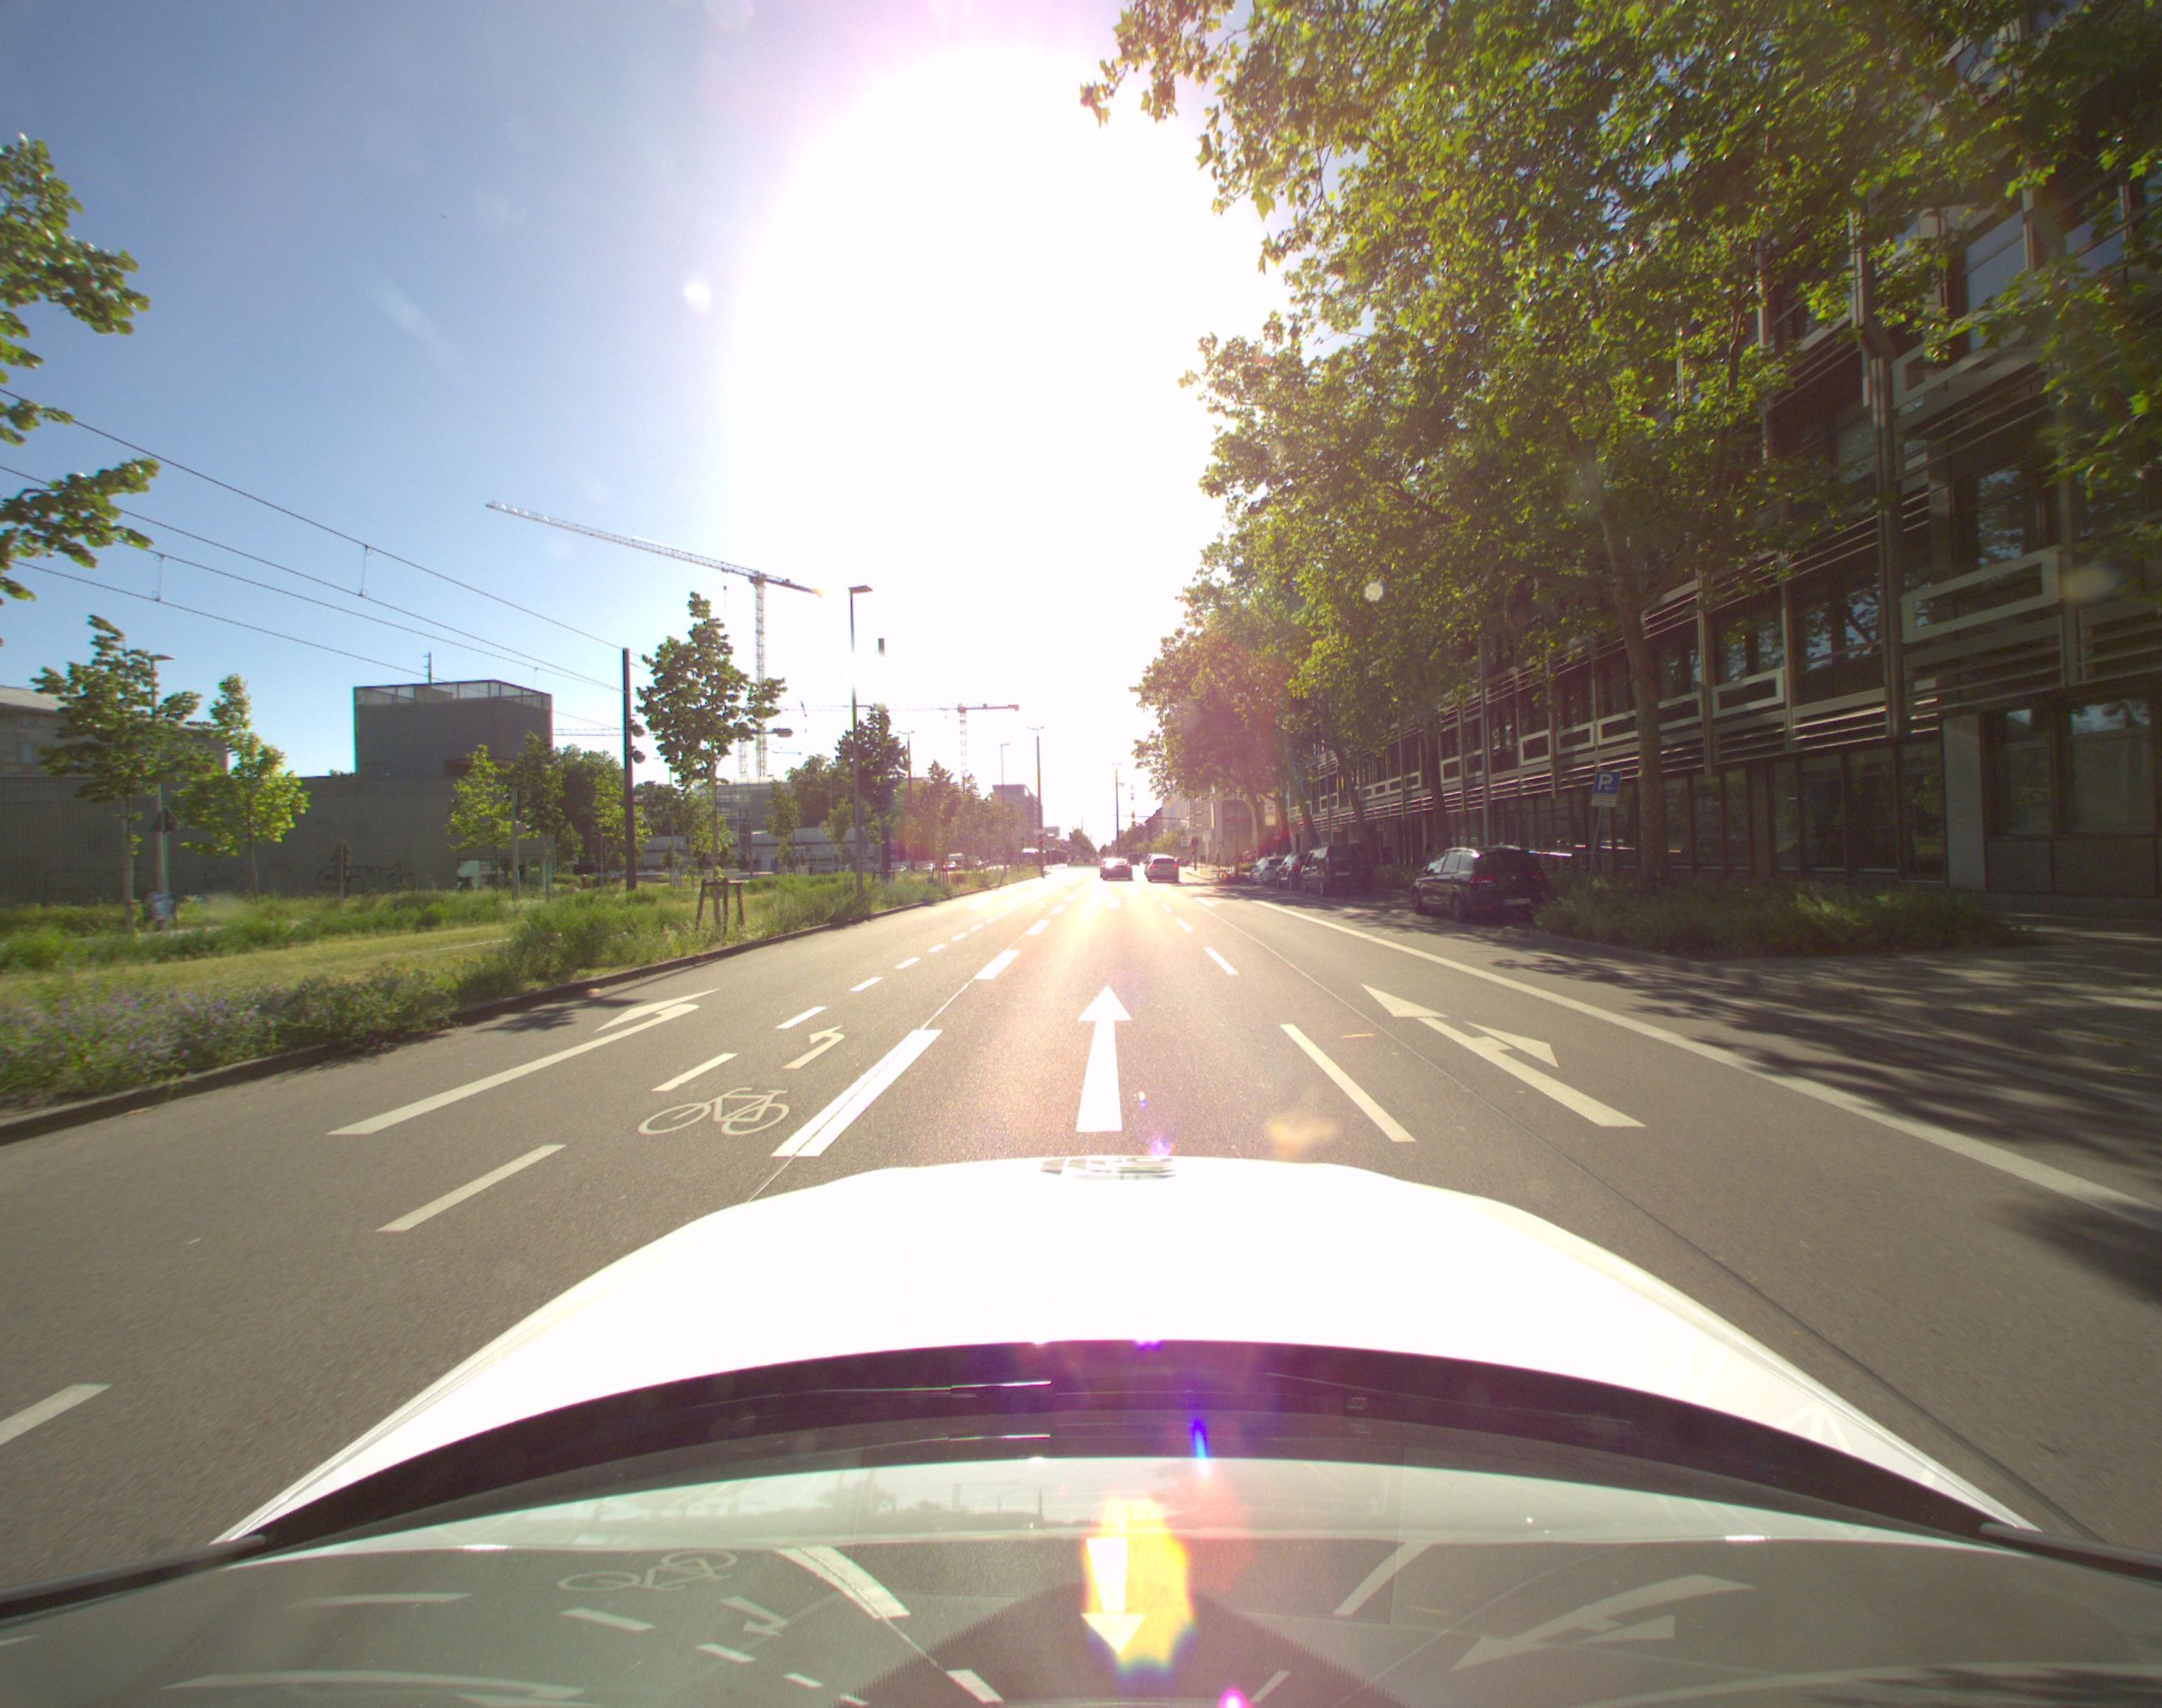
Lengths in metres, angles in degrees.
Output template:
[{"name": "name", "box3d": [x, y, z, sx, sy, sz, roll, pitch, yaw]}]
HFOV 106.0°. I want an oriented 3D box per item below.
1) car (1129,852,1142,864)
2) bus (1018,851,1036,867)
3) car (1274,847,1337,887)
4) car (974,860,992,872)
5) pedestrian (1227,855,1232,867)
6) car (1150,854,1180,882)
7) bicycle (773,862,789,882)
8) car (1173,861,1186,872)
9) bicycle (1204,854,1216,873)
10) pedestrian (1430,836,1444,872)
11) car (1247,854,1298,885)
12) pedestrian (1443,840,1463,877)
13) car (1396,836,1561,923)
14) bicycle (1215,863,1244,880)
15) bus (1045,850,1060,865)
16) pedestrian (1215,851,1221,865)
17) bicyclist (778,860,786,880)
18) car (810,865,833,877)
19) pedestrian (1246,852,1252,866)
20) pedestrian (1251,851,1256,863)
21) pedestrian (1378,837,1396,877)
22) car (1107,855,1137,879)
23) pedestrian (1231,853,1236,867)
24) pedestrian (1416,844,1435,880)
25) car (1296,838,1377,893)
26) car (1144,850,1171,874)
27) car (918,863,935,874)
[{"name": "car", "box3d": [9.262, 0.665, 138.709, 1.985, 2.014, 4.002, 0, -1, 3]}, {"name": "bus", "box3d": [-9.714, 0.891, 146.299, 2.619, 2.783, 8.842, 0, -1, 0]}, {"name": "car", "box3d": [9.619, 0.534, 35.154, 1.697, 1.563, 4.195, -1, 0, 3]}, {"name": "car", "box3d": [-10.350, 1.290, 86.251, 1.371, 1.178, 3.221, 0, -1, 2]}, {"name": "pedestrian", "box3d": [17.380, 0.822, 95.196, 0.558, 1.441, 0.633, 0, -1, 9]}, {"name": "car", "box3d": [5.226, 0.858, 50.856, 1.714, 1.618, 4.191, -1, 0, 4]}, {"name": "bicycle", "box3d": [-22.696, 1.359, 61.592, 0.359, 1.455, 1.915, -1, 0, 3]}, {"name": "car", "box3d": [14.605, 1.818, 120.852, 1.656, 1.649, 3.701, 0, -1, 1]}, {"name": "bicycle", "box3d": [10.002, 0.779, 63.318, 0.560, 1.441, 2.577, 0, -1, 2]}, {"name": "pedestrian", "box3d": [15.573, 0.002, 35.628, 0.314, 1.584, 0.500, -1, 0, -6]}, {"name": "car", "box3d": [9.807, 0.757, 41.954, 1.697, 1.492, 4.603, -1, 0, 3]}, {"name": "pedestrian", "box3d": [16.162, 0.194, 35.393, 0.551, 1.603, 0.573, -1, 0, 2]}, {"name": "car", "box3d": [8.762, 0.507, 18.433, 1.696, 1.643, 4.642, -3, 0, 4]}, {"name": "bicycle", "box3d": [9.192, 1.100, 50.488, 1.689, 0.957, 0.478, -3, 0, -2]}, {"name": "bus", "box3d": [-5.754, 0.730, 163.231, 2.619, 2.960, 9.896, 0, -1, 0]}, {"name": "pedestrian", "box3d": [13.633, 0.407, 80.886, 0.558, 1.441, 0.633, 0, -1, 9]}, {"name": "bicyclist", "box3d": [-22.658, 1.207, 61.661, 0.393, 1.455, 0.540, 0, -1, 1]}, {"name": "car", "box3d": [-35.833, 2.370, 112.358, 1.703, 1.556, 4.002, 0, -1, 3]}, {"name": "pedestrian", "box3d": [17.749, 0.547, 86.123, 0.558, 1.441, 0.633, 0, -1, 9]}, {"name": "pedestrian", "box3d": [20.339, 0.324, 95.966, 0.558, 1.441, 0.633, 0, -1, 9]}, {"name": "pedestrian", "box3d": [14.774, 0.145, 39.269, 0.674, 1.916, 0.557, 0, -1, 2]}, {"name": "car", "box3d": [2.721, 0.863, 54.880, 1.905, 1.486, 4.011, -1, 0, 2]}, {"name": "pedestrian", "box3d": [16.232, 0.652, 86.649, 0.558, 1.441, 0.633, 0, -1, 9]}, {"name": "pedestrian", "box3d": [15.061, 0.349, 35.617, 0.505, 1.584, 0.634, -1, 0, -6]}, {"name": "car", "box3d": [9.236, 0.396, 29.771, 1.697, 1.790, 4.195, -4, 0, 3]}, {"name": "car", "box3d": [6.041, 0.643, 64.678, 1.715, 1.782, 4.187, -1, 0, 1]}, {"name": "car", "box3d": [-24.054, 2.220, 127.010, 1.830, 1.613, 3.897, 0, -1, 2]}]
